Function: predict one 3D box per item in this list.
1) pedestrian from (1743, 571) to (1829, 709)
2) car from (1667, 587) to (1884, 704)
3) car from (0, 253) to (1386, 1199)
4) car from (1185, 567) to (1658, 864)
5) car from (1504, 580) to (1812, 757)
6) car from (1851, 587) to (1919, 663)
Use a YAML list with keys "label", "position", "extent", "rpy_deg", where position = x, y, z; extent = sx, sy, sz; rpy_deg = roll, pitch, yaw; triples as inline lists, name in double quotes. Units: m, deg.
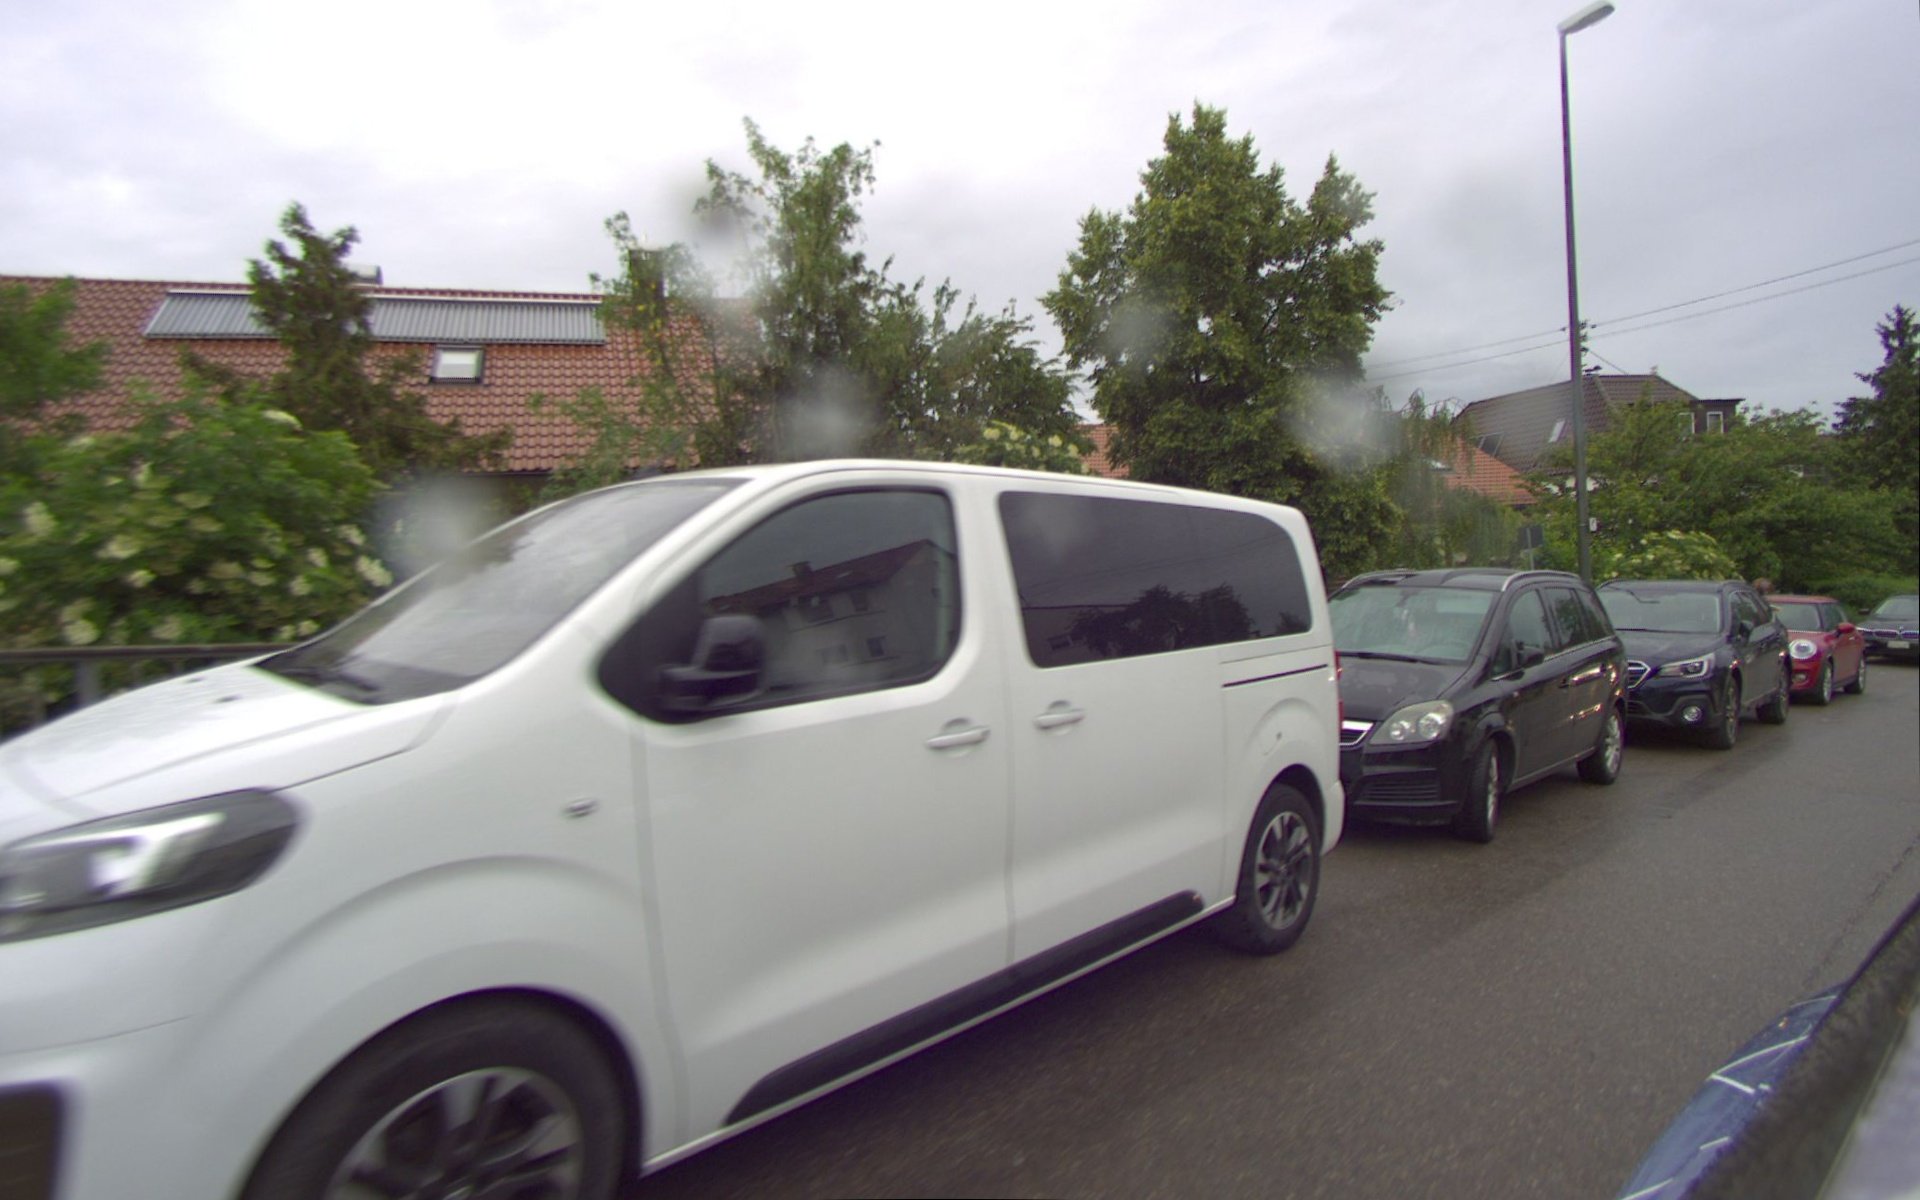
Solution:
- label: "pedestrian"
  position: [10.305, 0.473, 12.631]
  extent: [0.695, 1.656, 0.718]
  rpy_deg: [0, 0, -40]
- label: "car"
  position: [11.802, 0.549, 14.575]
  extent: [3.784, 1.432, 1.739]
  rpy_deg: [-1, 1, -40]
- label: "car"
  position: [-0.437, 0.435, 3.545]
  extent: [4.831, 1.905, 1.850]
  rpy_deg: [-1, 1, -45]
- label: "car"
  position: [3.565, 0.563, 7.385]
  extent: [4.281, 1.560, 1.646]
  rpy_deg: [-1, 1, -43]
- label: "car"
  position: [7.723, 0.550, 11.003]
  extent: [4.645, 1.525, 1.818]
  rpy_deg: [-1, 1, -43]
- label: "car"
  position: [20.702, 0.474, 21.427]
  extent: [4.699, 1.477, 1.798]
  rpy_deg: [-1, 1, -36]
